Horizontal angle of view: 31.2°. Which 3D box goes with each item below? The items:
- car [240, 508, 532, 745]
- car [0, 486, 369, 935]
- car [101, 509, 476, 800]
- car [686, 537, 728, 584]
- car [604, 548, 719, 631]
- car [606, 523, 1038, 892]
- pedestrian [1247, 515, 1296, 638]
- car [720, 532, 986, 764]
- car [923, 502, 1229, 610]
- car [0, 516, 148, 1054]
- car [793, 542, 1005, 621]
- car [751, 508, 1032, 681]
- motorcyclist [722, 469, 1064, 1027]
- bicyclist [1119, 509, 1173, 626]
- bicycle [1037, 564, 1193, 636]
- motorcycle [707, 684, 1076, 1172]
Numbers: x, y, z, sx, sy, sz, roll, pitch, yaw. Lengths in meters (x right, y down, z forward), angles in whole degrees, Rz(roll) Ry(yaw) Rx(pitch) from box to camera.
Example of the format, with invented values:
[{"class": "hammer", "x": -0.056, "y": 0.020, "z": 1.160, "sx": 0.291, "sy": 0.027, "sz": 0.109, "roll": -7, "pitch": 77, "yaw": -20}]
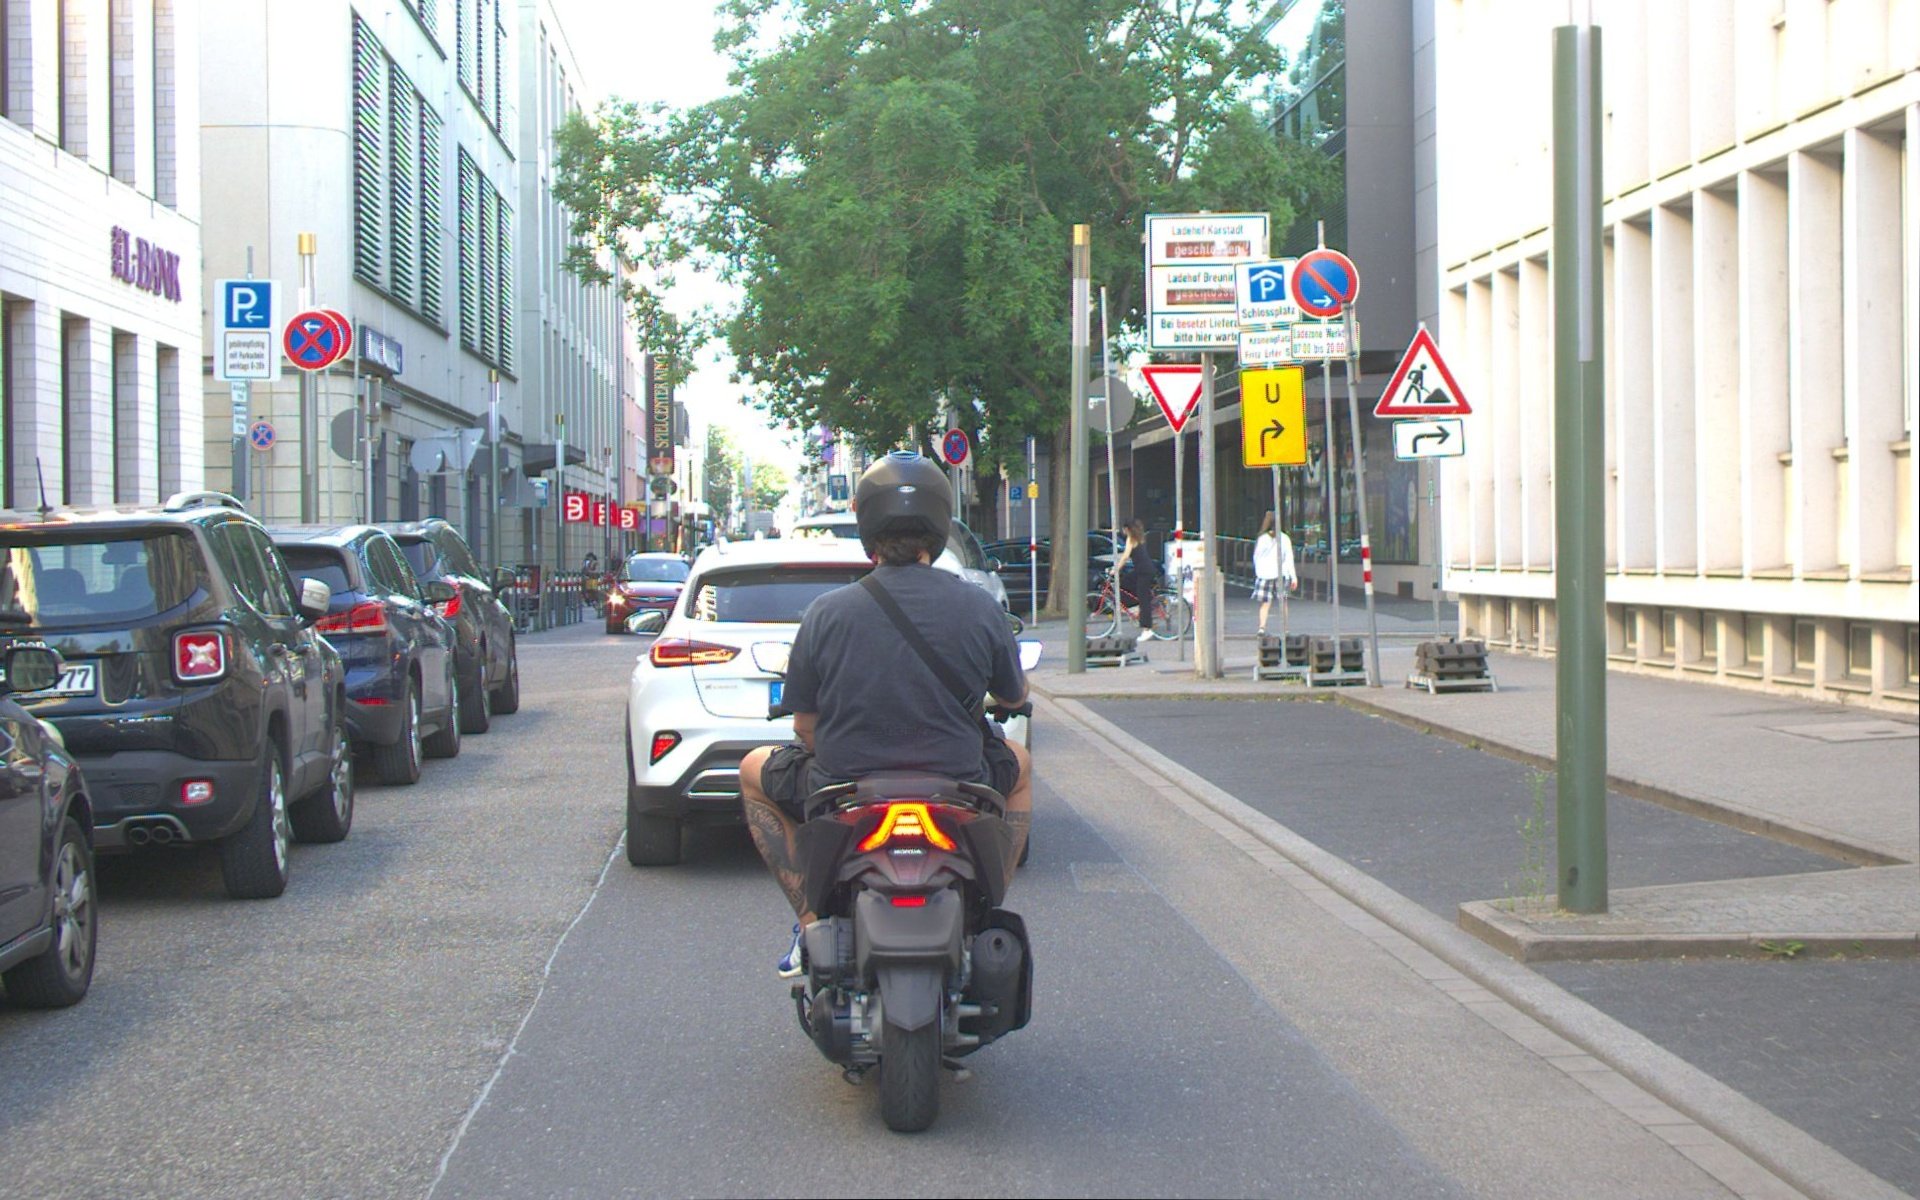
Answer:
[{"class": "car", "x": -4.556, "y": 0.146, "z": 27.864, "sx": 1.822, "sy": 1.672, "sz": 4.264, "roll": -3, "pitch": 2, "yaw": -4}, {"class": "car", "x": -3.837, "y": 0.405, "z": 15.445, "sx": 1.822, "sy": 1.708, "sz": 4.018, "roll": -3, "pitch": 2, "yaw": -4}, {"class": "car", "x": -4.166, "y": 0.260, "z": 21.938, "sx": 1.739, "sy": 1.589, "sz": 4.155, "roll": -3, "pitch": 2, "yaw": -4}, {"class": "car", "x": -12.705, "y": -1.981, "z": 172.508, "sx": 1.993, "sy": 2.321, "sz": 5.022, "roll": 1, "pitch": 1, "yaw": -5}, {"class": "car", "x": -5.591, "y": -0.180, "z": 64.898, "sx": 1.822, "sy": 1.460, "sz": 4.263, "roll": -1, "pitch": -1, "yaw": -1}, {"class": "car", "x": -0.719, "y": 0.410, "z": 16.842, "sx": 1.822, "sy": 1.536, "sz": 4.264, "roll": -1, "pitch": 1, "yaw": -4}, {"class": "pedestrian", "x": 4.042, "y": -0.301, "z": 44.650, "sx": 0.559, "sy": 1.578, "sz": 0.598, "roll": 0, "pitch": 0, "yaw": -1}, {"class": "car", "x": -0.901, "y": 0.299, "z": 26.785, "sx": 1.822, "sy": 1.536, "sz": 4.365, "roll": -3, "pitch": 2, "yaw": -4}, {"class": "car", "x": 1.976, "y": -0.759, "z": 59.583, "sx": 5.004, "sy": 1.447, "sz": 2.000, "roll": -5, "pitch": 1, "yaw": -5}, {"class": "car", "x": -3.703, "y": 0.570, "z": 10.026, "sx": 1.822, "sy": 1.536, "sz": 4.264, "roll": -3, "pitch": 2, "yaw": -4}, {"class": "car", "x": -1.526, "y": -0.455, "z": 84.700, "sx": 5.004, "sy": 1.494, "sz": 2.000, "roll": -5, "pitch": 1, "yaw": -5}, {"class": "car", "x": -0.667, "y": -0.113, "z": 37.643, "sx": 1.823, "sy": 1.639, "sz": 4.491, "roll": -3, "pitch": 2, "yaw": 15}, {"class": "motorcyclist", "x": -0.177, "y": 0.376, "z": 9.025, "sx": 0.867, "sy": 1.422, "sz": 0.455, "roll": 0, "pitch": 0, "yaw": -2}, {"class": "bicyclist", "x": 2.582, "y": -0.452, "z": 47.769, "sx": 0.630, "sy": 1.620, "sz": 0.497, "roll": 0, "pitch": 0, "yaw": 19}, {"class": "bicycle", "x": 2.157, "y": -0.003, "z": 47.917, "sx": 2.104, "sy": 0.991, "sz": 0.518, "roll": 0, "pitch": 0, "yaw": 20}, {"class": "motorcycle", "x": -0.190, "y": 0.803, "z": 9.116, "sx": 0.872, "sy": 1.105, "sz": 1.840, "roll": 0, "pitch": 0, "yaw": -2}]
